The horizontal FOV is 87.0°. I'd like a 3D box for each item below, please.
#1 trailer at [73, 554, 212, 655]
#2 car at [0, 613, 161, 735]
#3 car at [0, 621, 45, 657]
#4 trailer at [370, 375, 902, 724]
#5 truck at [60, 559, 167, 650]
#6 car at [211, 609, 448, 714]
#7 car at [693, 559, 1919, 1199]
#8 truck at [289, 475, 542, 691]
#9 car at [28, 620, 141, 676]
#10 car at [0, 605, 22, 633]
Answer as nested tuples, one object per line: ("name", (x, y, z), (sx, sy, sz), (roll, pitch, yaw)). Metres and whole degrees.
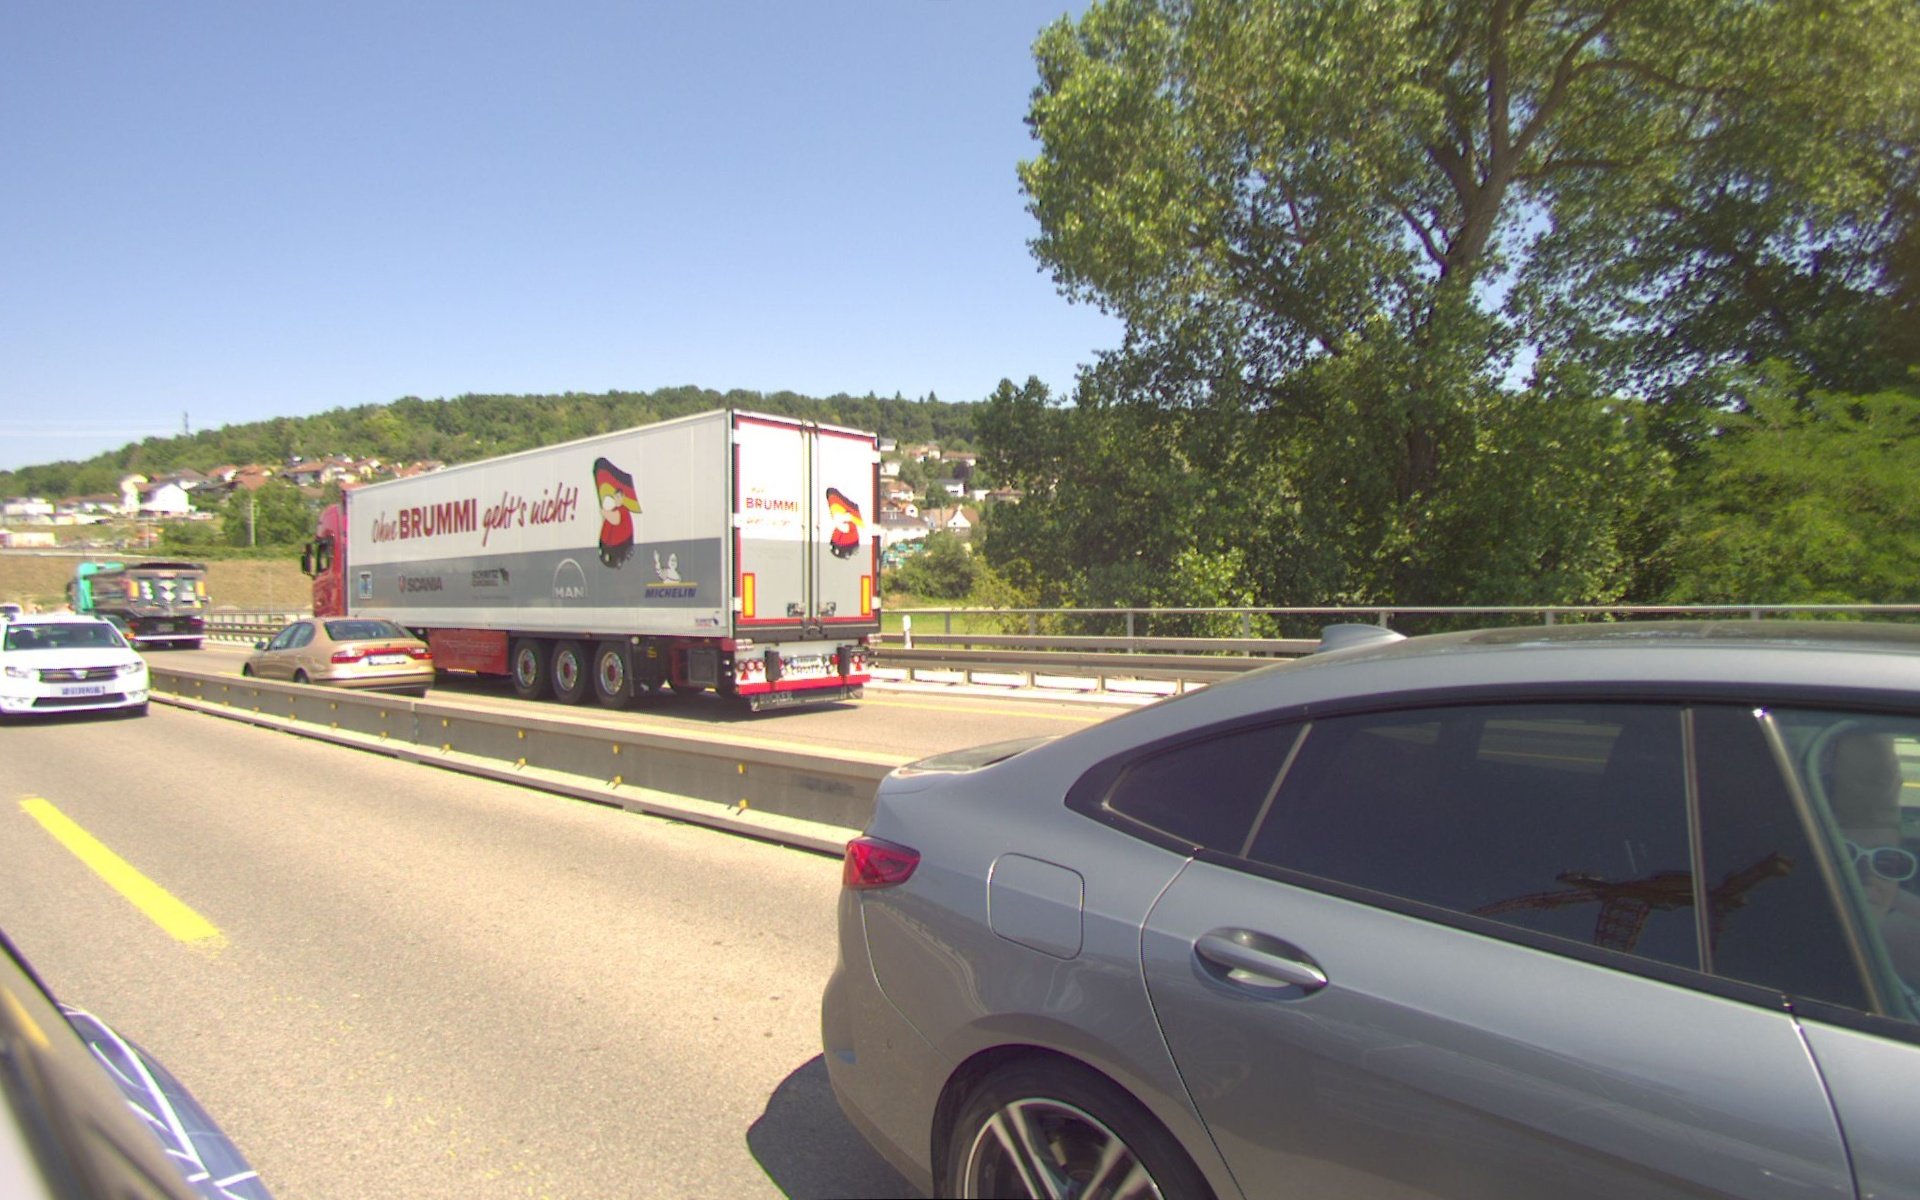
("trailer", (-33.287, 0.219, 41.068), (8.950, 3.700, 2.766), (-1, 0, 40))
("car", (-13.704, 1.004, 15.243), (4.704, 1.542, 1.800), (-1, 0, 41))
("car", (-37.935, 1.524, 40.332), (4.711, 1.390, 1.761), (-1, -2, 43))
("trailer", (-6.216, -0.474, 17.097), (11.790, 4.208, 2.778), (-2, -1, 41))
("truck", (-37.137, 0.199, 44.368), (5.371, 3.750, 2.768), (0, 0, 41))
("car", (-10.189, 0.941, 16.255), (4.188, 1.472, 1.883), (-2, -3, 38))
("car", (1.767, 0.683, 1.511), (4.739, 1.463, 1.833), (-1, -1, 41))
("truck", (-12.122, -0.264, 22.273), (6.519, 4.068, 2.786), (-2, -1, 41))
("car", (-26.277, 1.377, 30.327), (4.917, 1.499, 1.870), (-1, 0, 41))
("car", (-67.157, 1.315, 70.516), (4.621, 1.882, 1.842), (-1, -1, 37))
